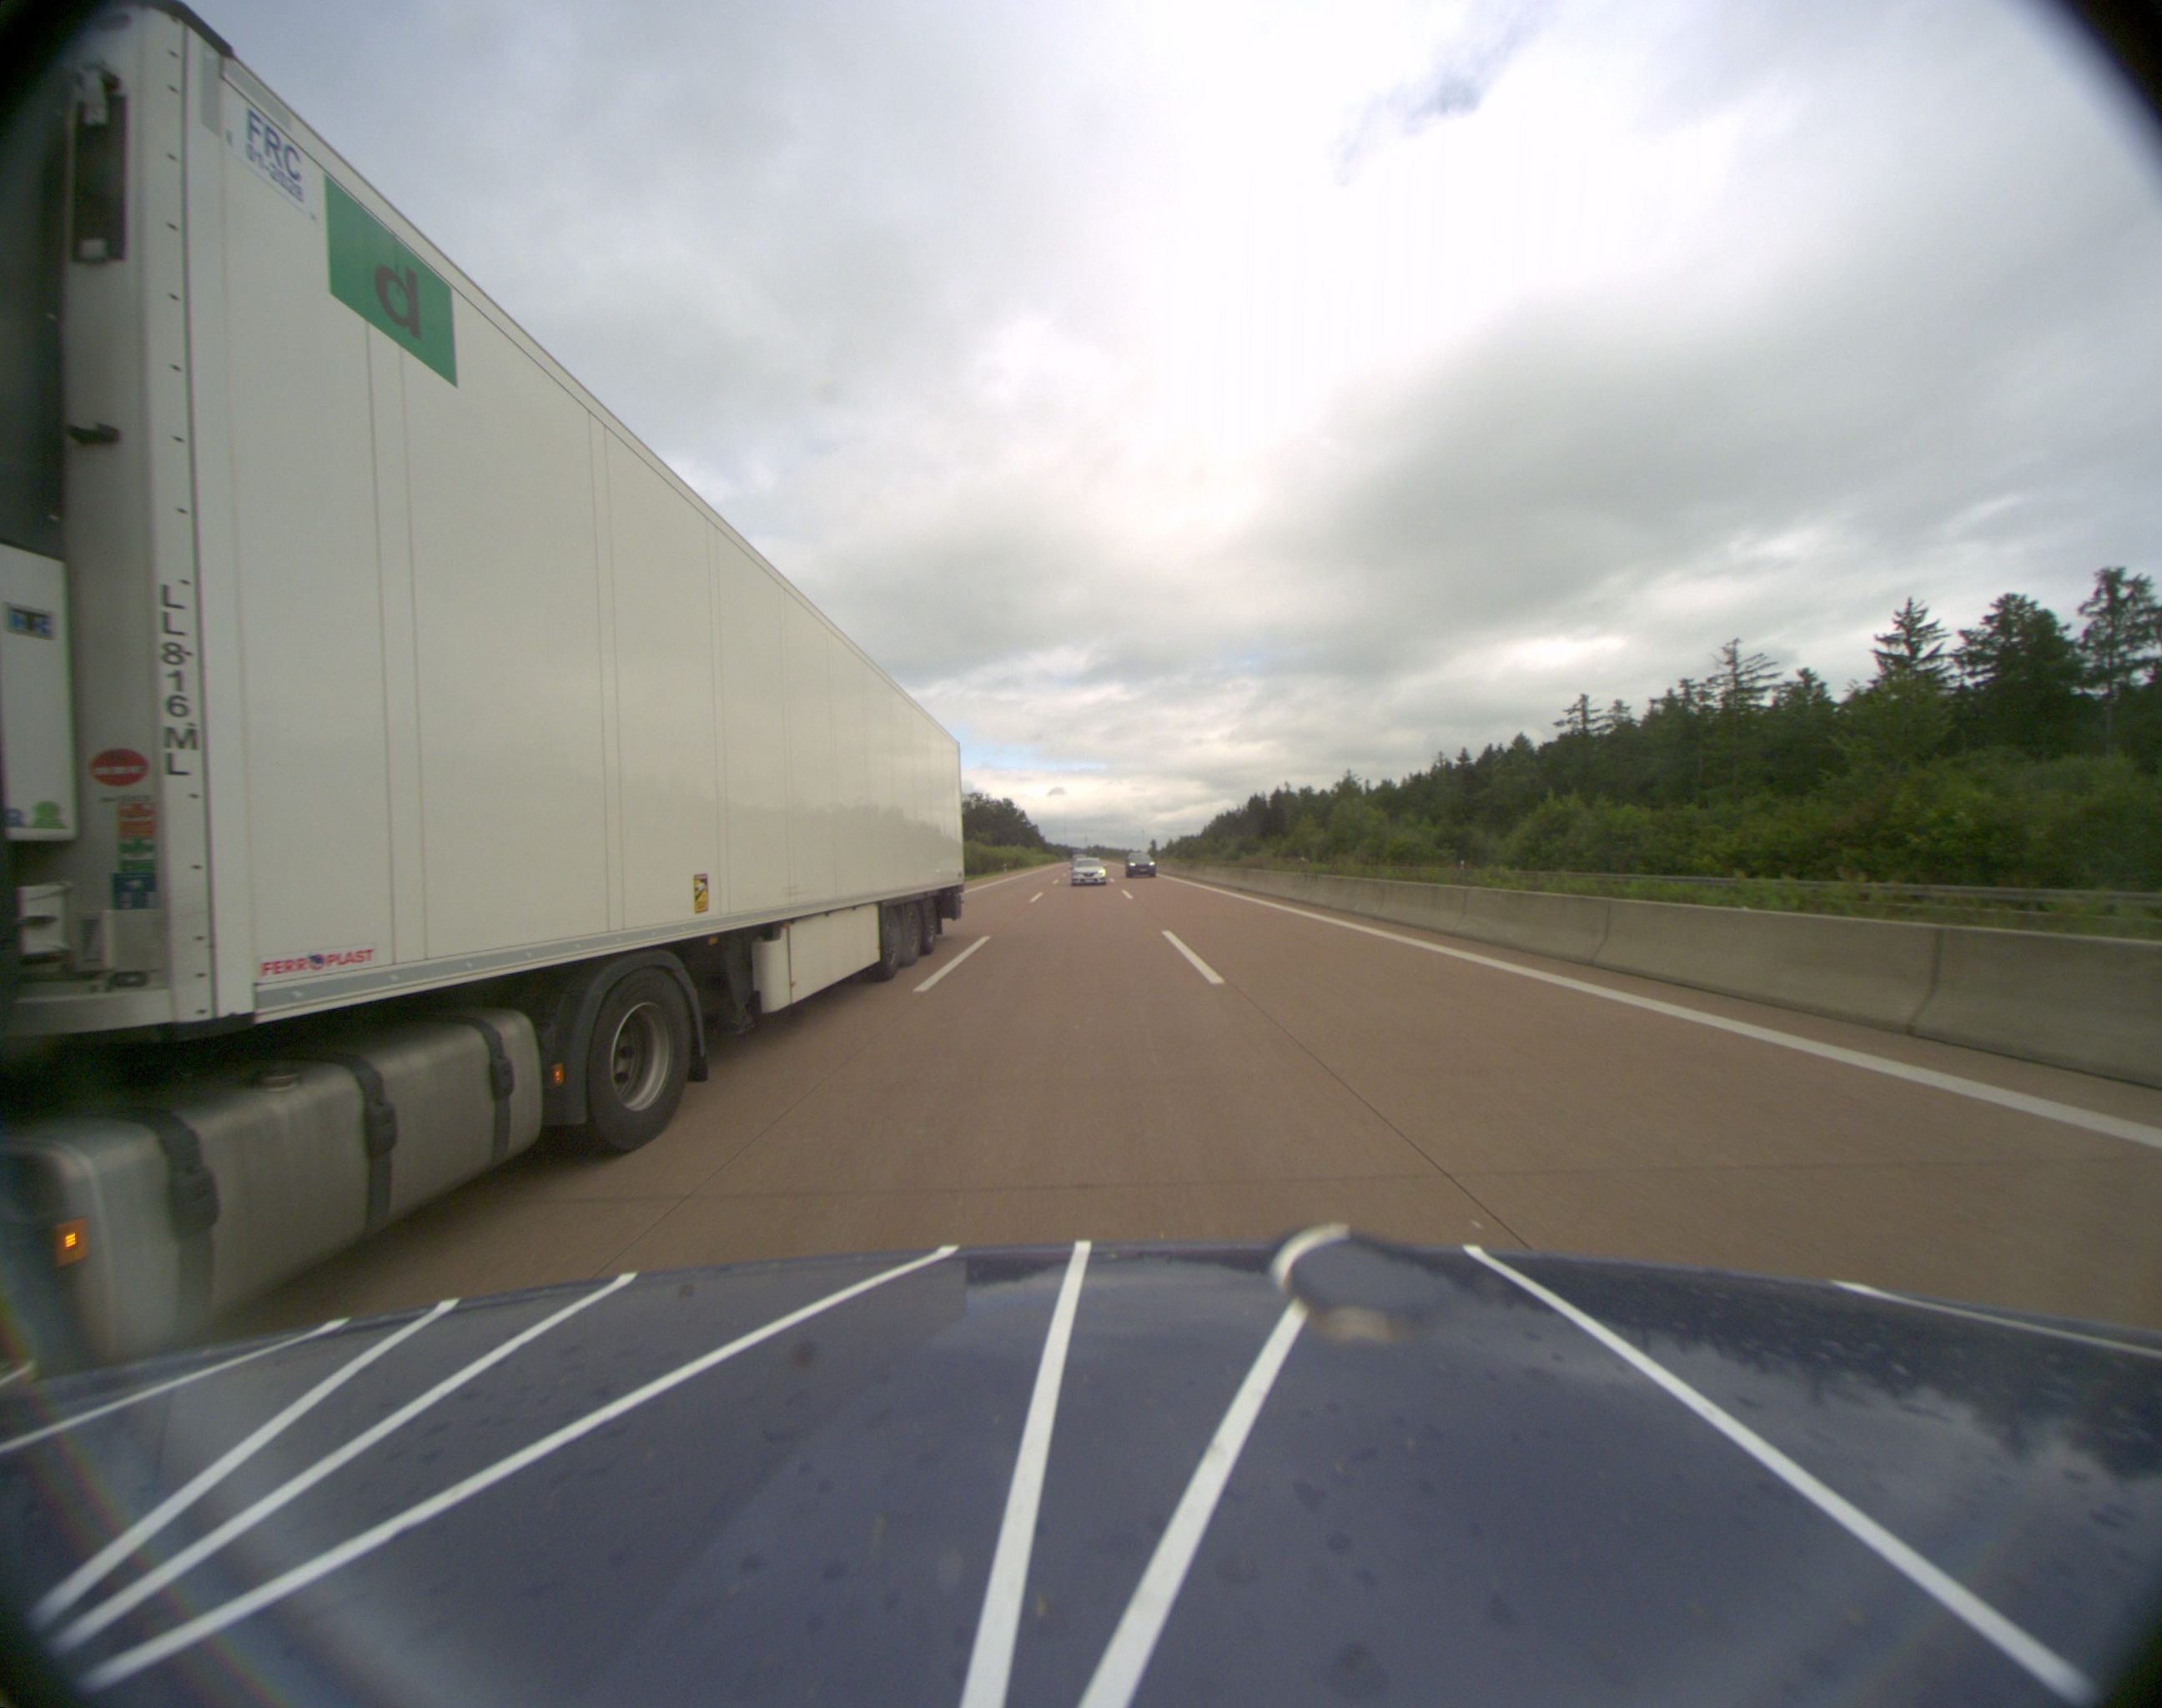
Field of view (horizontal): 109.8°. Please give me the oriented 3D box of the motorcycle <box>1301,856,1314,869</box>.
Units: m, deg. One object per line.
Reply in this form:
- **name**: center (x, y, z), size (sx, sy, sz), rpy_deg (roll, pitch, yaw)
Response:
- **motorcycle**: center (21.014, 0.757, 70.532), size (0.602, 1.149, 2.154), rpy_deg (-3, 0, 0)

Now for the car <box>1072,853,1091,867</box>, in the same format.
- **car**: center (0.073, 0.702, 87.623), size (1.986, 1.499, 4.052), rpy_deg (-2, 0, 1)

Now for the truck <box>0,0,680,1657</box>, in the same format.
- **truck**: center (-3.830, -0.380, 1.620), size (2.929, 4.269, 5.334), rpy_deg (-2, 1, 0)

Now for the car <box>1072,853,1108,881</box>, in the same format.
- **car**: center (0.568, 0.752, 44.547), size (1.923, 1.515, 4.001), rpy_deg (-2, 0, 3)

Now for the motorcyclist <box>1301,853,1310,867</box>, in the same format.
- **motorcyclist**: center (21.011, 0.538, 71.040), size (0.595, 1.276, 0.801), rpy_deg (-3, 1, 0)

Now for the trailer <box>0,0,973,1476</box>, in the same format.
- **trailer**: center (-3.805, -0.389, 8.919), size (2.929, 4.269, 13.612), rpy_deg (-2, 0, 0)

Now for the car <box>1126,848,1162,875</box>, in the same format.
- **car**: center (4.258, 0.447, 52.027), size (1.998, 1.689, 5.252), rpy_deg (-2, 0, 1)
